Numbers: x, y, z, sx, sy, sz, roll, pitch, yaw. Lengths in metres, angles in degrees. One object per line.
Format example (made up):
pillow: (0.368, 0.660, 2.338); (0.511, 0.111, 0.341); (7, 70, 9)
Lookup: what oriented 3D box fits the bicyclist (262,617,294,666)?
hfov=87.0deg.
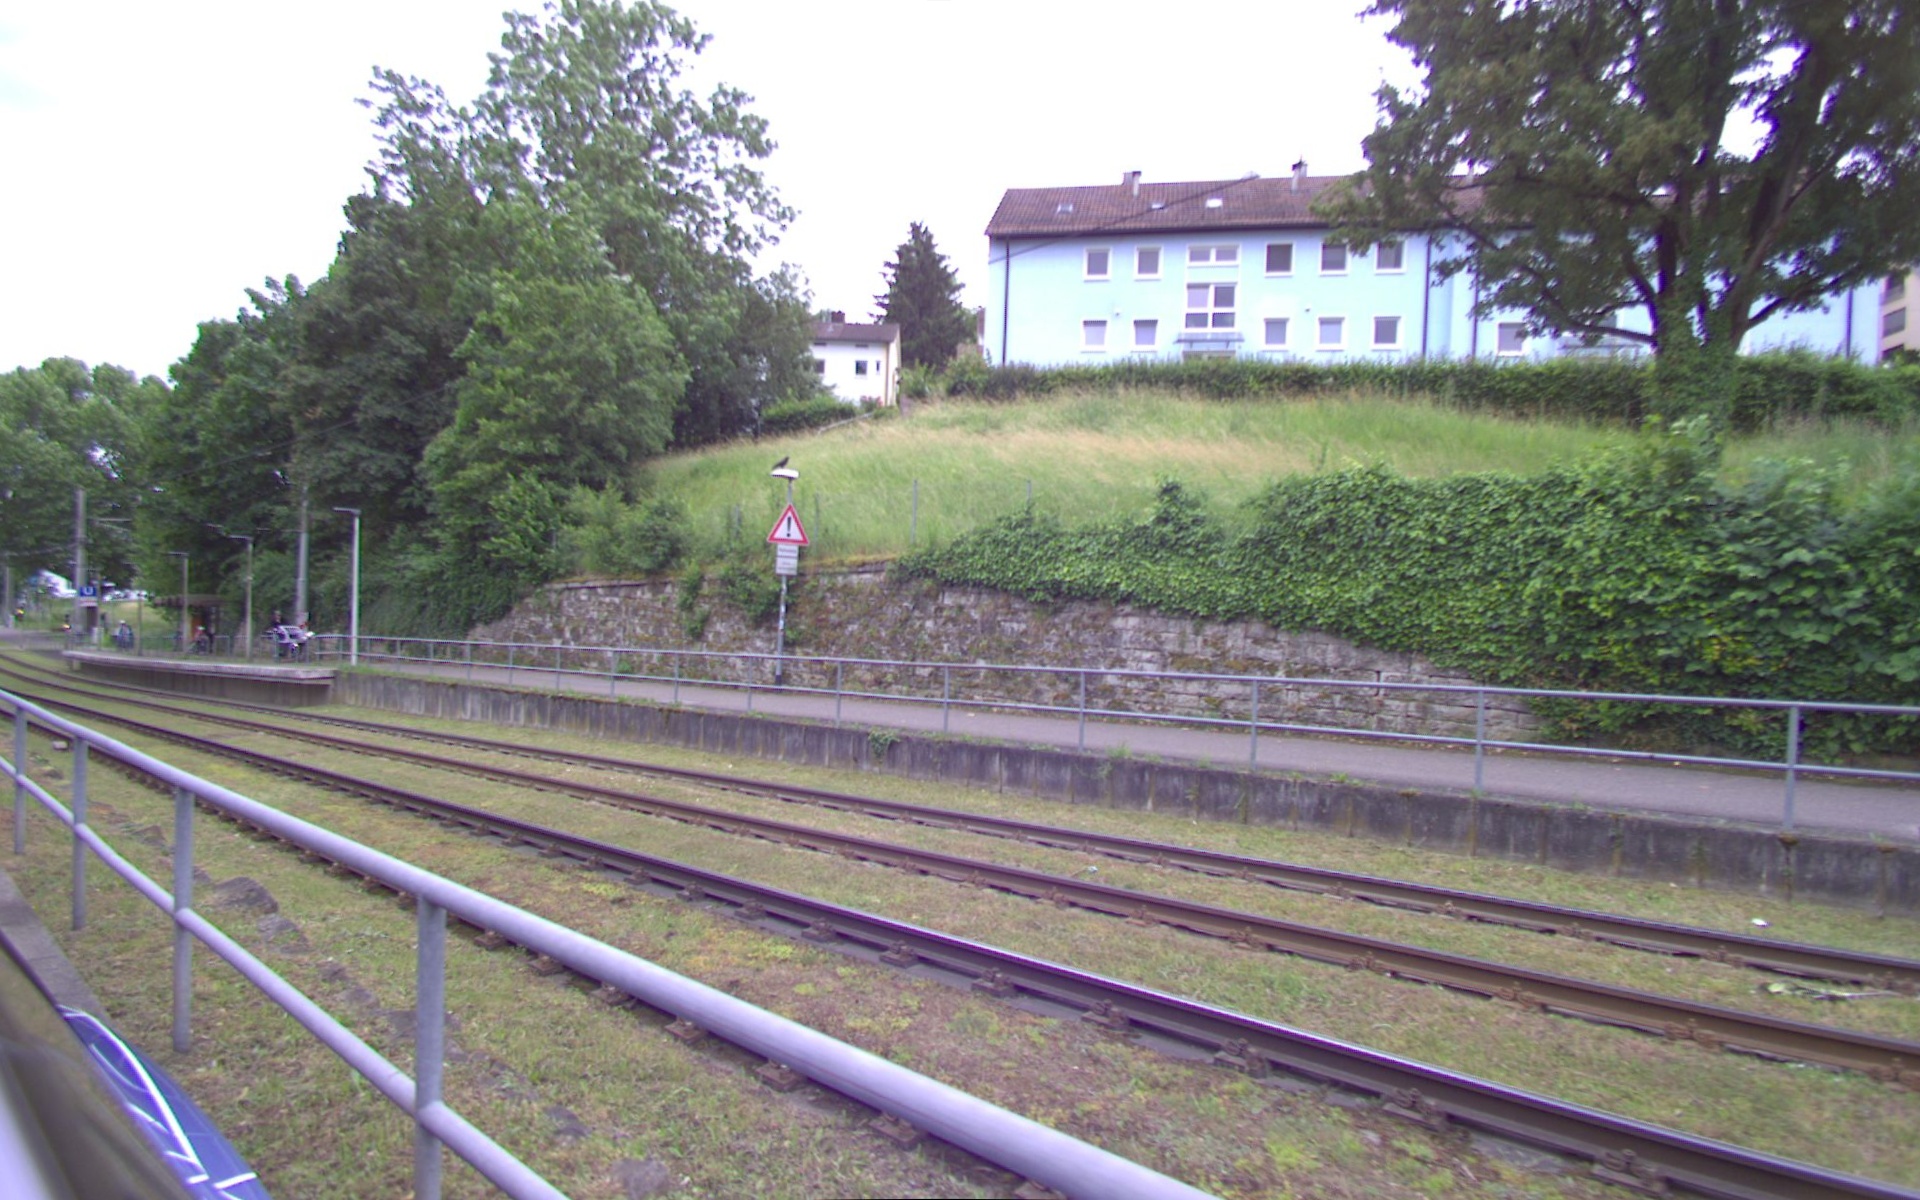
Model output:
bicyclist: (-23.436, 1.432, 34.755); (1.033, 1.641, 0.696); (-3, -2, 44)

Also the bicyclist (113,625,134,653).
bicyclist: (-45.604, 2.119, 55.183); (0.839, 1.454, 0.722); (-4, -3, 40)

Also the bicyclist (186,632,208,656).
bicyclist: (-34.350, 1.976, 45.555); (0.744, 1.061, 0.682); (-3, -3, 41)

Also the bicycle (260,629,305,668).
bicycle: (-22.943, 1.642, 34.243); (0.742, 1.249, 2.868); (-1, -2, -45)

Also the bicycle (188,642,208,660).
bicycle: (-34.249, 2.308, 45.483); (1.564, 0.787, 0.445); (-3, -3, 42)

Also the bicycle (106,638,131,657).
bicycle: (-44.009, 2.479, 52.918); (1.838, 0.932, 0.474); (-4, -3, 32)

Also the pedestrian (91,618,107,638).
pedestrian: (-77.926, 2.546, 91.626); (1.101, 1.747, 0.695); (0, -1, -43)

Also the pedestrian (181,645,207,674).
pedestrian: (-36.965, 2.875, 48.844); (0.772, 1.333, 0.813); (-1, -1, 35)

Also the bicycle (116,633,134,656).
bicycle: (-45.587, 2.432, 55.274); (1.939, 1.197, 0.458); (-4, -3, 41)

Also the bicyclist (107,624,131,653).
bicyclist: (-43.988, 2.004, 52.952); (0.905, 1.442, 0.739); (-4, -3, 32)

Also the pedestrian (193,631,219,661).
pedestrian: (-35.946, 2.191, 48.234); (0.772, 1.385, 0.813); (-1, -1, 35)
